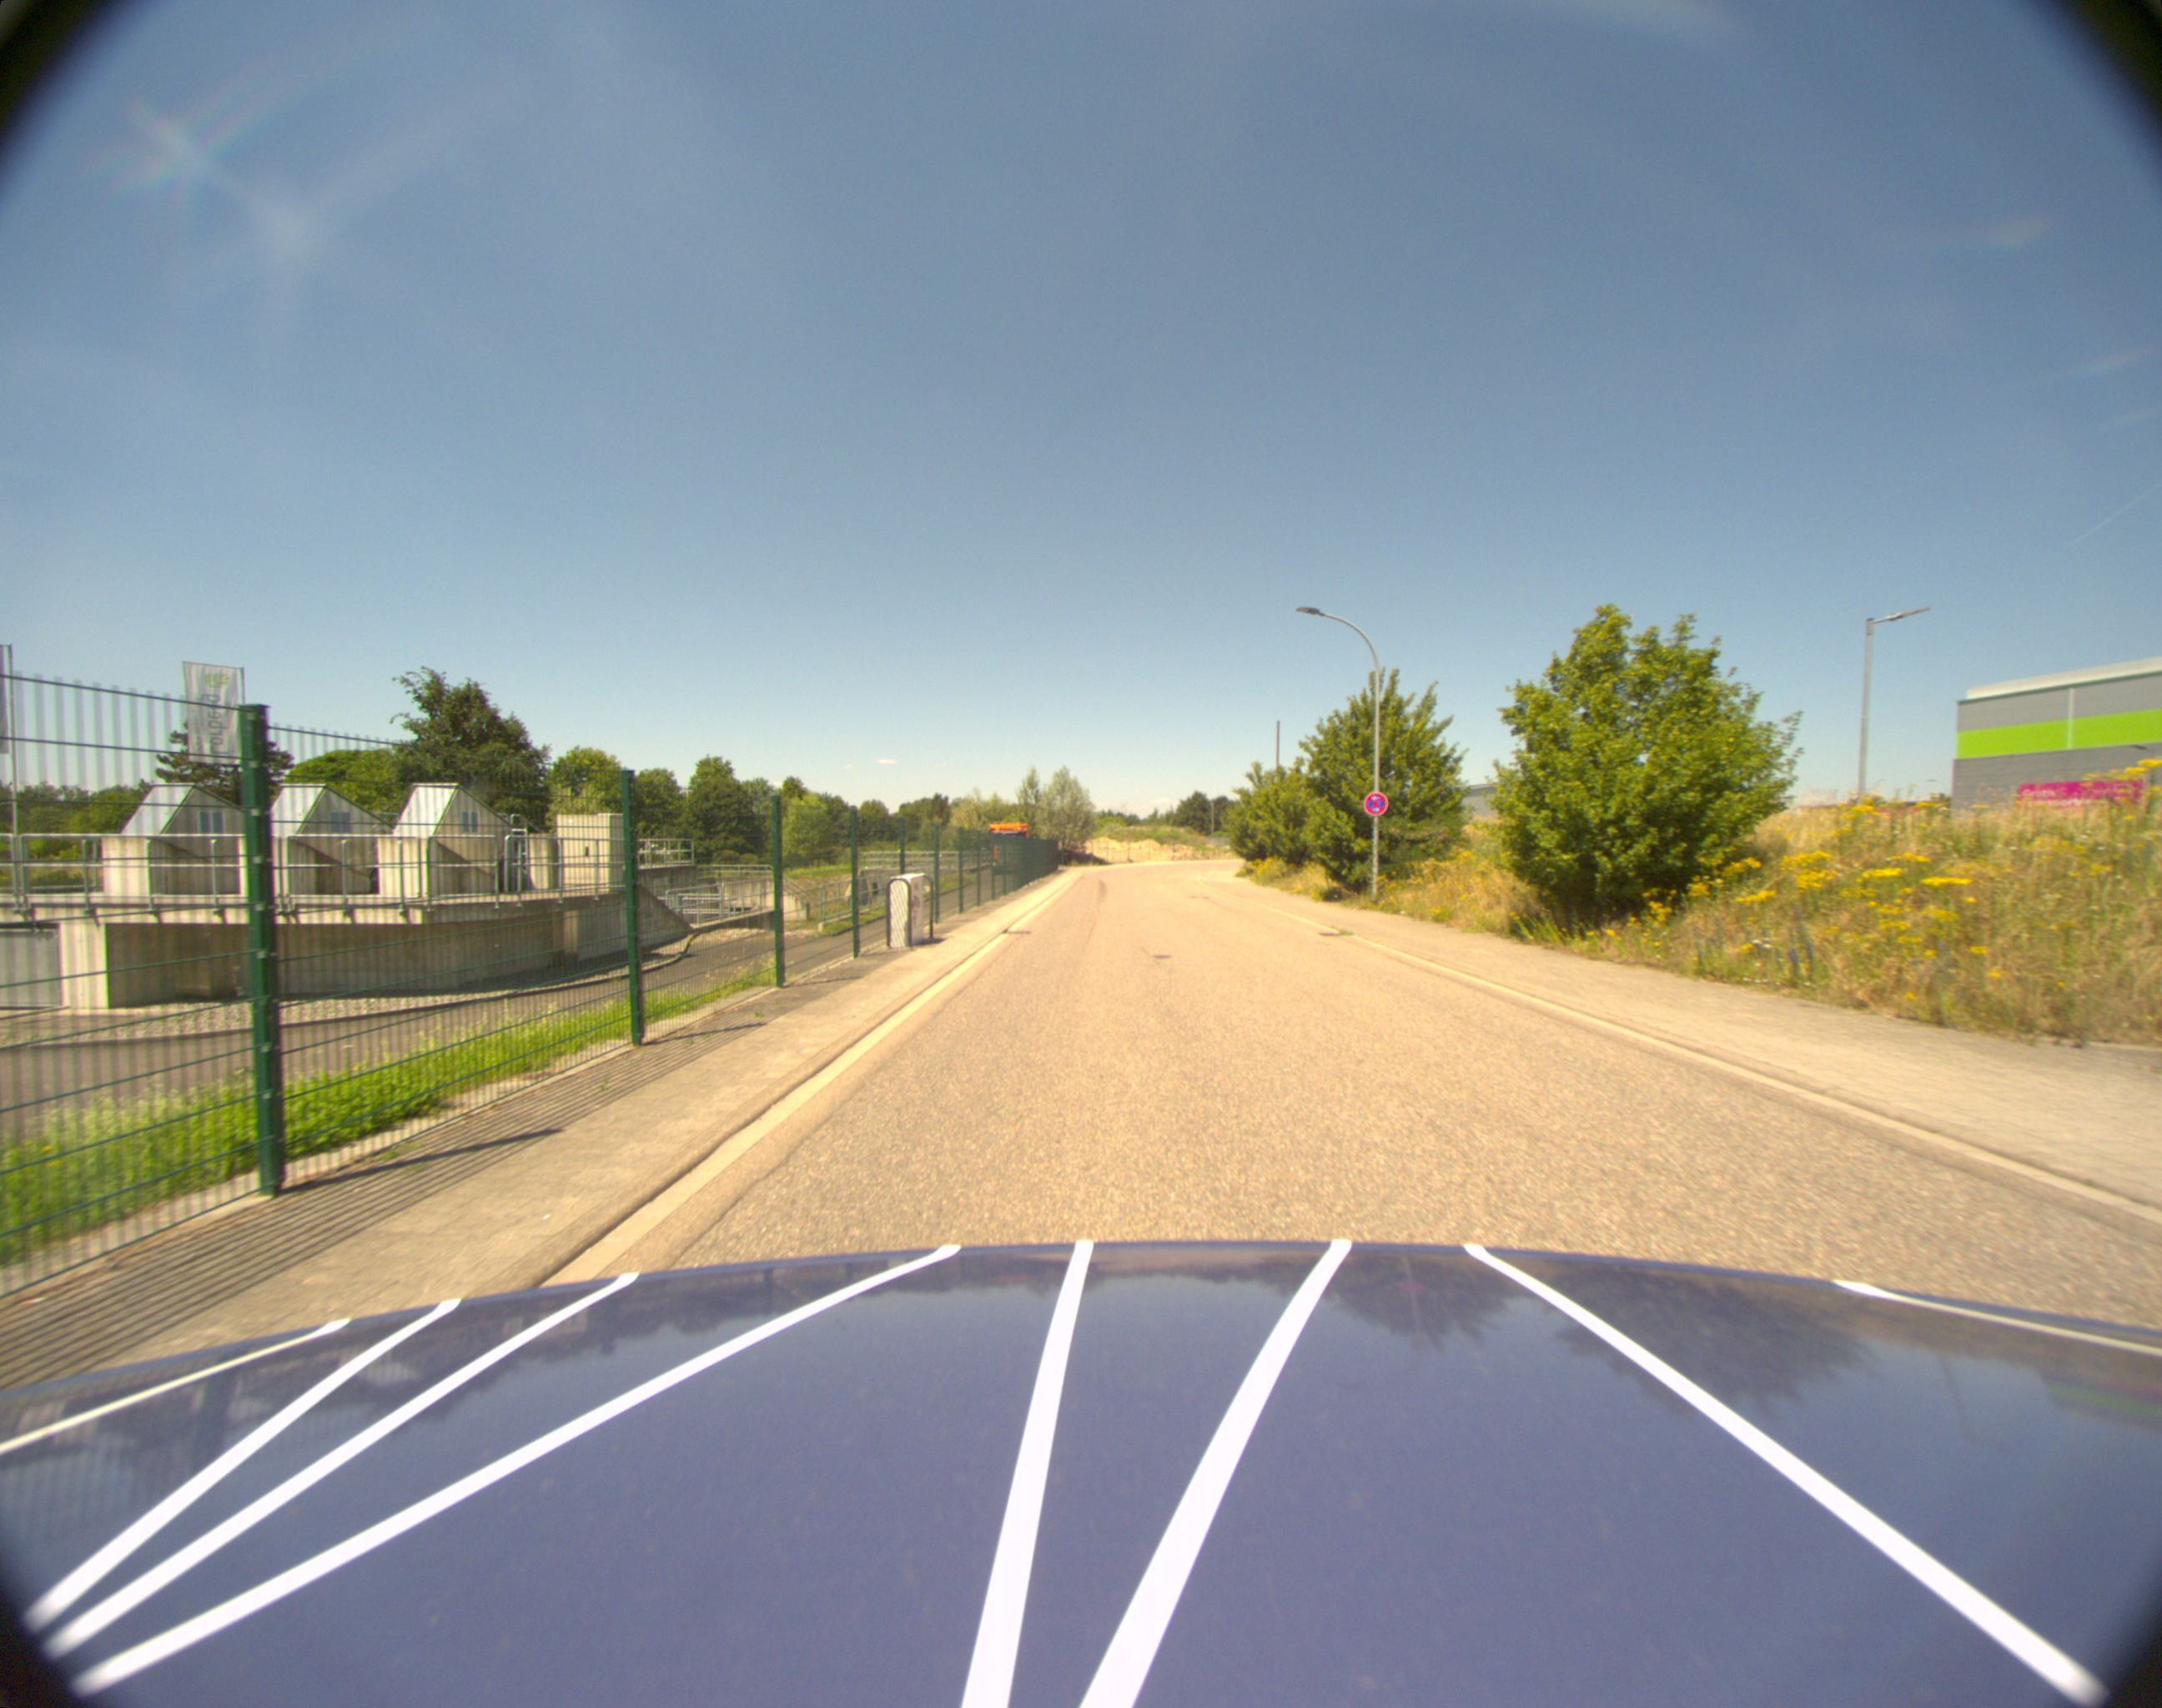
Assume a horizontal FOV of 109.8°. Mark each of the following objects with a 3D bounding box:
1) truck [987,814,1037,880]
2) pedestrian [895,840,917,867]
[{"bbox_3d":[-4.749,-0.497,53.647,2.847,4.172,8.130,-2,1,-1],"label":"truck"},{"bbox_3d":[-13.375,-0.048,58.034,1.304,2.002,1.216,-2,1,1],"label":"pedestrian"}]
